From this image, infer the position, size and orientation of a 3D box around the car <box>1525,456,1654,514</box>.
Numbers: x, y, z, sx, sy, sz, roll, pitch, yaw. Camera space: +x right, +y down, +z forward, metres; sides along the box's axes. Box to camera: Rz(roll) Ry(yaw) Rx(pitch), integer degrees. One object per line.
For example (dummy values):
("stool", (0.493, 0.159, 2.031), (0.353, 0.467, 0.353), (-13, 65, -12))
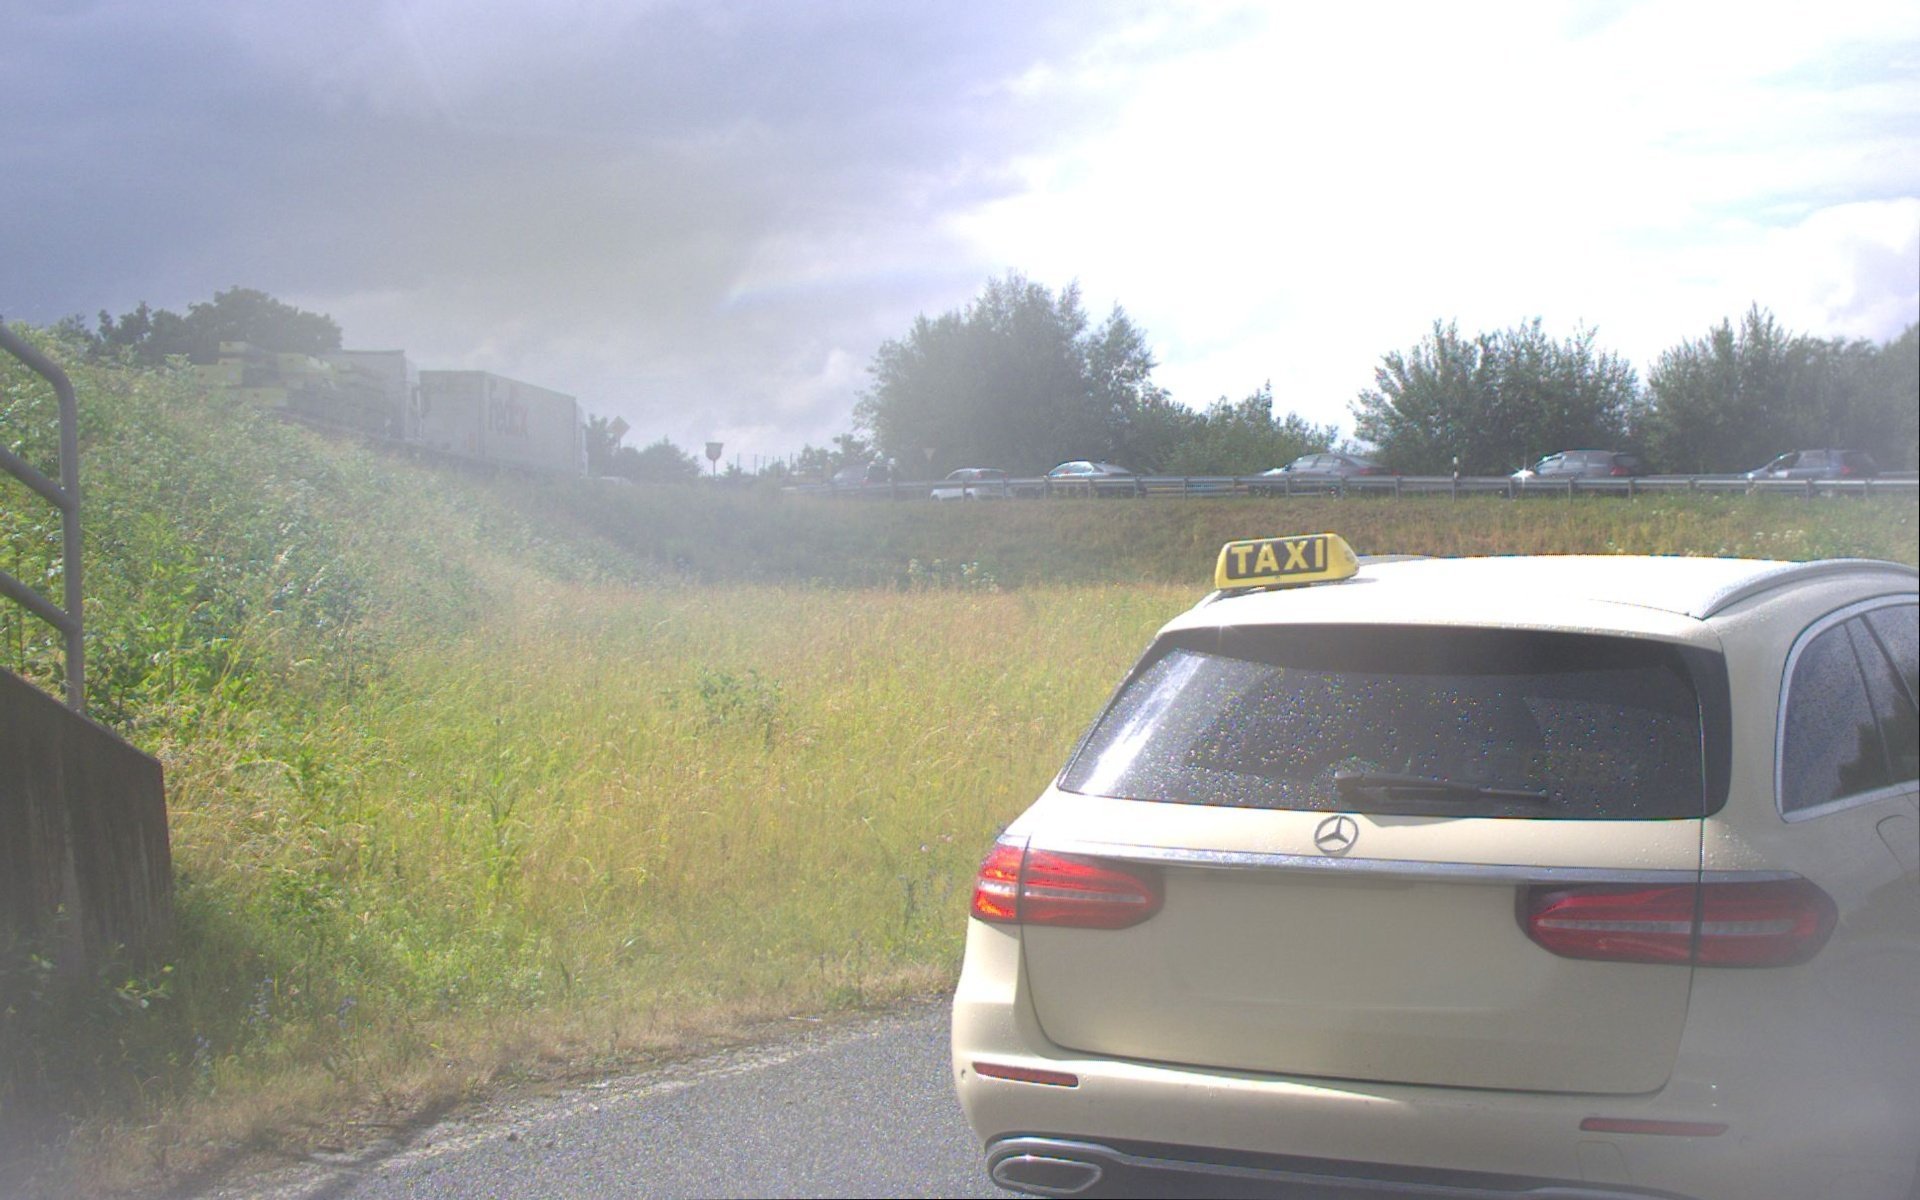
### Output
("car", (18.183, -3.325, 99.378), (3.321, 1.530, 1.467), (-1, 4, 42))

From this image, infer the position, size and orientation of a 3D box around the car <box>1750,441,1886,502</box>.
("car", (23.368, -3.495, 93.706), (1.466, 1.530, 3.323), (-5, 3, -40))

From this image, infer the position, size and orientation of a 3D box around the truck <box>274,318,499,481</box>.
("truck", (-17.085, -5.906, 103.589), (3.690, 4.397, 12.118), (-3, 2, 4))

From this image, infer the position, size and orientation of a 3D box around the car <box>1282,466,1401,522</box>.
("car", (11.585, -3.215, 104.459), (3.321, 1.530, 1.467), (-1, 4, 42))

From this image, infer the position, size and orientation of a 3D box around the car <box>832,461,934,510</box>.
("car", (-2.622, -3.887, 116.822), (3.321, 1.530, 1.467), (-1, 4, 42))

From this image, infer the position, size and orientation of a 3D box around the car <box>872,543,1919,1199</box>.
("car", (1.660, 0.621, 7.830), (1.718, 1.476, 4.511), (0, 1, 28))

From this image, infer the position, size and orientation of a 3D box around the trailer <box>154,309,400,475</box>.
("trailer", (-18.082, -5.421, 92.006), (3.393, 3.940, 11.182), (-3, 2, 4))
